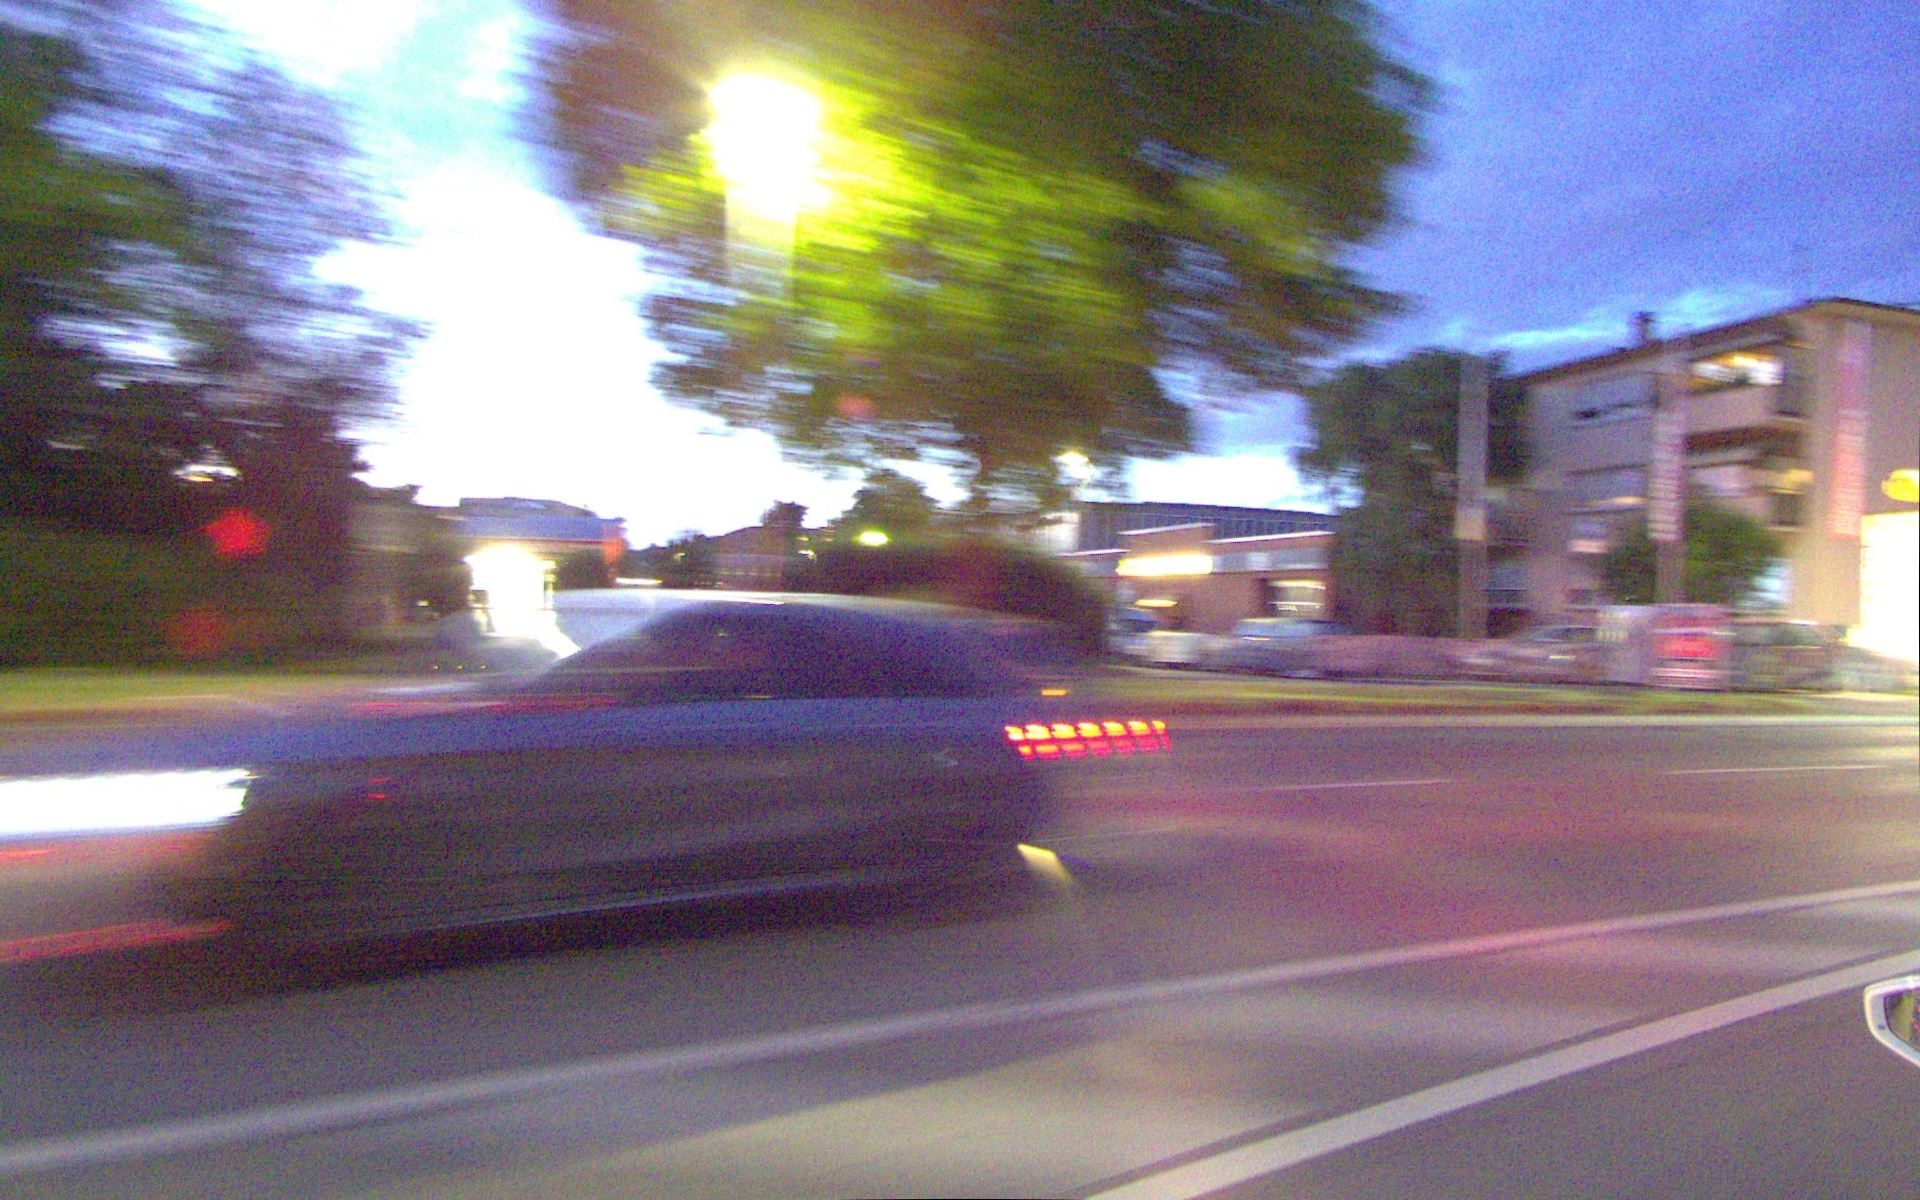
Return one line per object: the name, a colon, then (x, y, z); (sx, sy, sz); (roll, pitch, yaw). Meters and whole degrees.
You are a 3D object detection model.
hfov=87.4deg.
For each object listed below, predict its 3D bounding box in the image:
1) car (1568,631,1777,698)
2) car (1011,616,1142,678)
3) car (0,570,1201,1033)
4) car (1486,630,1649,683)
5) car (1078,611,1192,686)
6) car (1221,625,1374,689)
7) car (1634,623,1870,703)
car: (16.043, 1.429, 22.733); (3.626, 1.329, 1.549); (2, 0, 0)
car: (2.879, 1.178, 25.621); (1.869, 1.457, 3.760); (0, -2, -19)
car: (-1.289, 0.703, 4.712); (4.520, 1.421, 1.756); (2, -1, -22)
car: (15.196, 1.400, 25.230); (3.150, 1.146, 1.549); (2, 0, -1)
car: (7.308, 1.950, 42.771); (2.174, 2.647, 5.975); (0, 2, -19)
car: (7.957, 1.331, 23.970); (1.477, 1.377, 3.493); (3, -3, -25)
car: (16.146, 1.265, 20.592); (3.627, 1.439, 1.549); (2, 0, -1)
